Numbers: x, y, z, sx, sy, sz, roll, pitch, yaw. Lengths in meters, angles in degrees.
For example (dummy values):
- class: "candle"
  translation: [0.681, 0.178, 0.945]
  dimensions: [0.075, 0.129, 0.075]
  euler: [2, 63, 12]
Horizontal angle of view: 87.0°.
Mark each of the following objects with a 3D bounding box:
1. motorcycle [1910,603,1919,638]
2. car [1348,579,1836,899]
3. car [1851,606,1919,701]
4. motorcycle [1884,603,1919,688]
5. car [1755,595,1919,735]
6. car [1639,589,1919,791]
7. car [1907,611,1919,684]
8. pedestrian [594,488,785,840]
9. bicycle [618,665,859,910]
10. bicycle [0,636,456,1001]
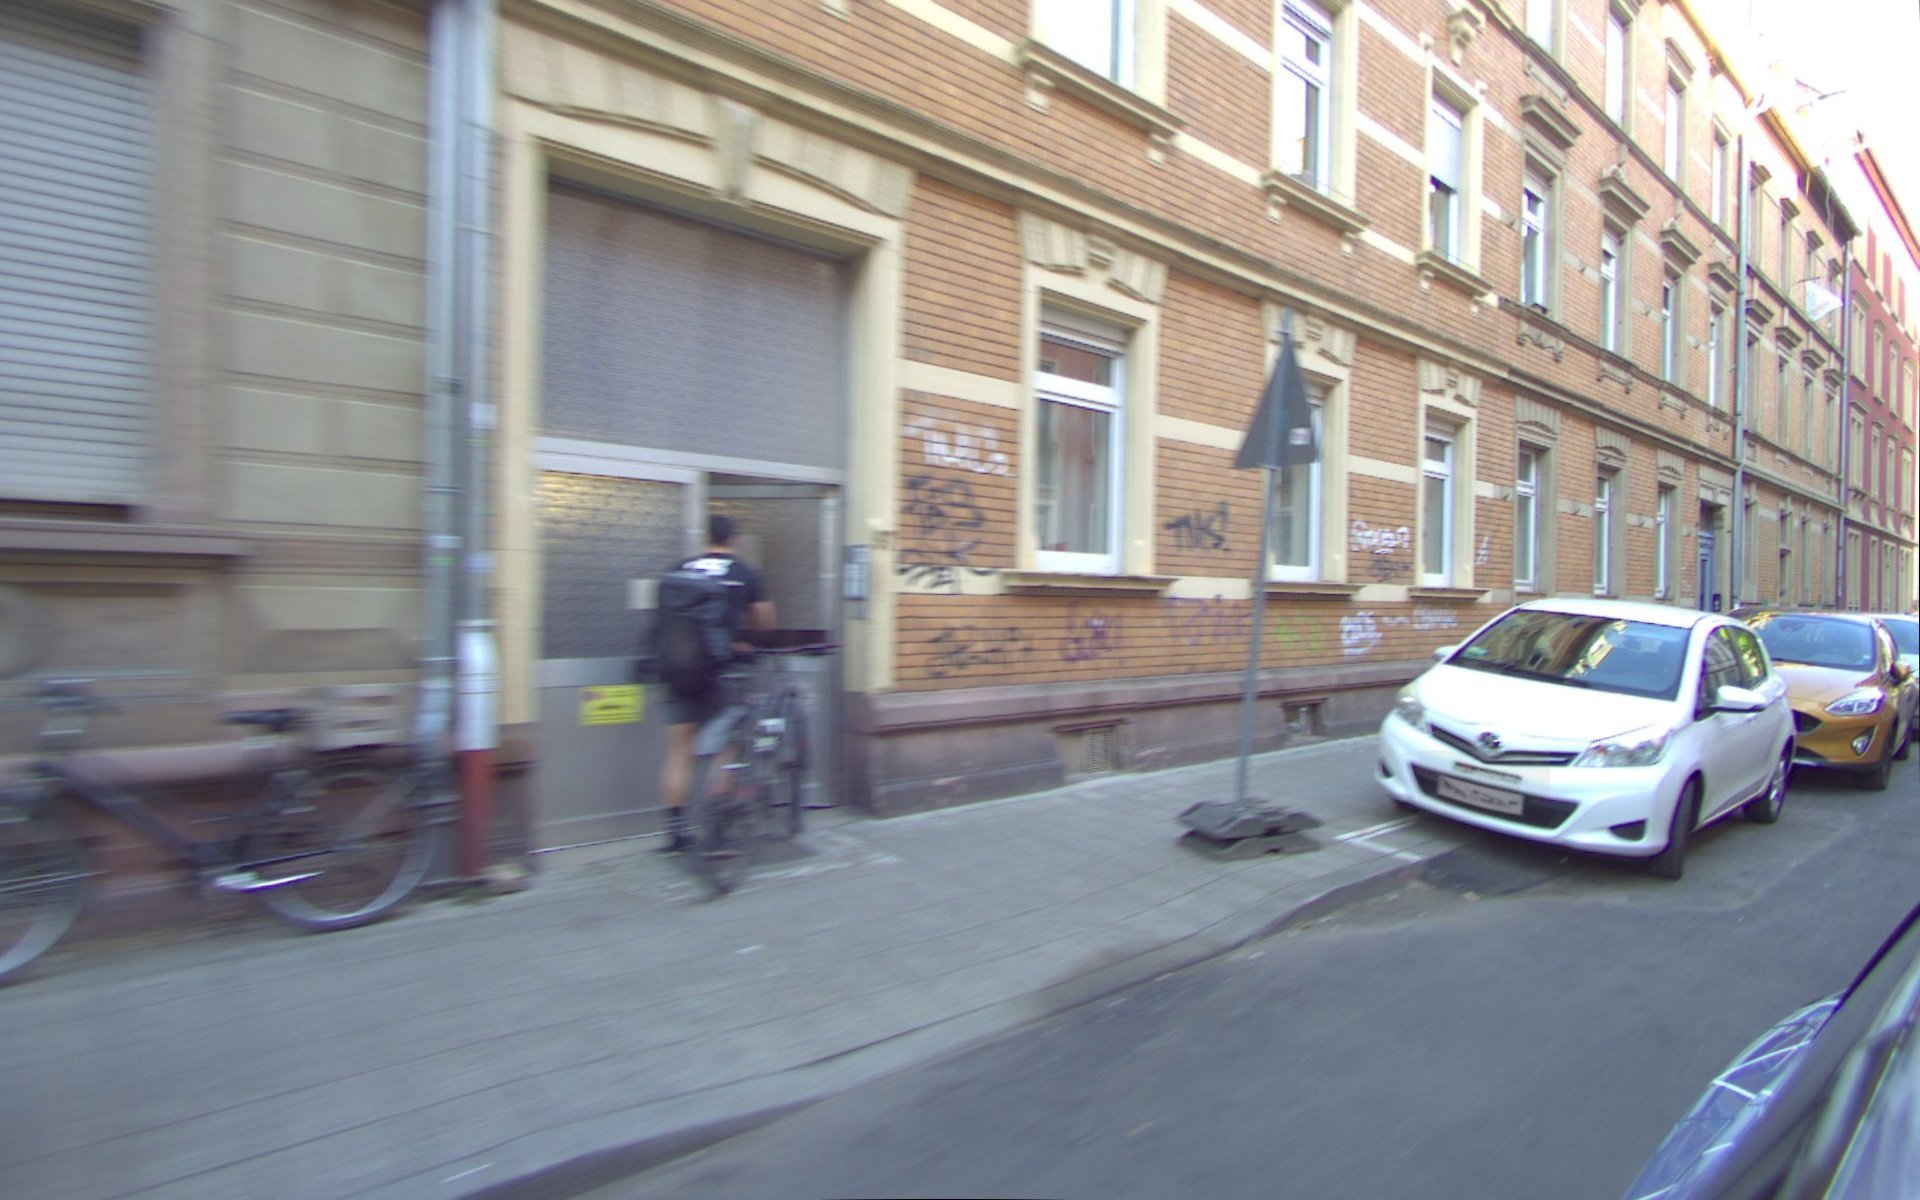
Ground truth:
- class: "motorcycle"
  translation: [43.398, 0.957, 45.108]
  dimensions: [2.571, 1.544, 0.875]
  euler: [2, 0, -32]
- class: "car"
  translation: [4.571, 0.703, 7.074]
  dimensions: [4.011, 1.498, 1.725]
  euler: [1, 5, -41]
- class: "car"
  translation: [16.083, 0.845, 16.459]
  dimensions: [4.240, 1.414, 1.781]
  euler: [1, 0, -40]
- class: "motorcycle"
  translation: [18.634, 0.824, 18.610]
  dimensions: [2.202, 1.556, 0.883]
  euler: [-1, -2, 24]
- class: "car"
  translation: [11.862, 0.756, 13.097]
  dimensions: [4.023, 1.434, 1.729]
  euler: [1, 5, -42]
- class: "car"
  translation: [8.308, 0.709, 9.926]
  dimensions: [3.999, 1.463, 1.757]
  euler: [0, 4, -42]
- class: "car"
  translation: [20.715, 0.977, 20.559]
  dimensions: [3.921, 1.424, 1.695]
  euler: [1, 1, -40]
- class: "pedestrian"
  translation: [-1.370, 0.284, 5.260]
  dimensions: [0.644, 1.650, 0.879]
  euler: [2, 2, 8]
- class: "bicycle"
  translation: [-1.042, 0.853, 5.219]
  dimensions: [0.586, 0.826, 1.823]
  euler: [3, 2, 8]
- class: "bicycle"
  translation: [-2.759, 0.706, 3.703]
  dimensions: [1.540, 1.079, 0.518]
  euler: [1, 2, -42]
